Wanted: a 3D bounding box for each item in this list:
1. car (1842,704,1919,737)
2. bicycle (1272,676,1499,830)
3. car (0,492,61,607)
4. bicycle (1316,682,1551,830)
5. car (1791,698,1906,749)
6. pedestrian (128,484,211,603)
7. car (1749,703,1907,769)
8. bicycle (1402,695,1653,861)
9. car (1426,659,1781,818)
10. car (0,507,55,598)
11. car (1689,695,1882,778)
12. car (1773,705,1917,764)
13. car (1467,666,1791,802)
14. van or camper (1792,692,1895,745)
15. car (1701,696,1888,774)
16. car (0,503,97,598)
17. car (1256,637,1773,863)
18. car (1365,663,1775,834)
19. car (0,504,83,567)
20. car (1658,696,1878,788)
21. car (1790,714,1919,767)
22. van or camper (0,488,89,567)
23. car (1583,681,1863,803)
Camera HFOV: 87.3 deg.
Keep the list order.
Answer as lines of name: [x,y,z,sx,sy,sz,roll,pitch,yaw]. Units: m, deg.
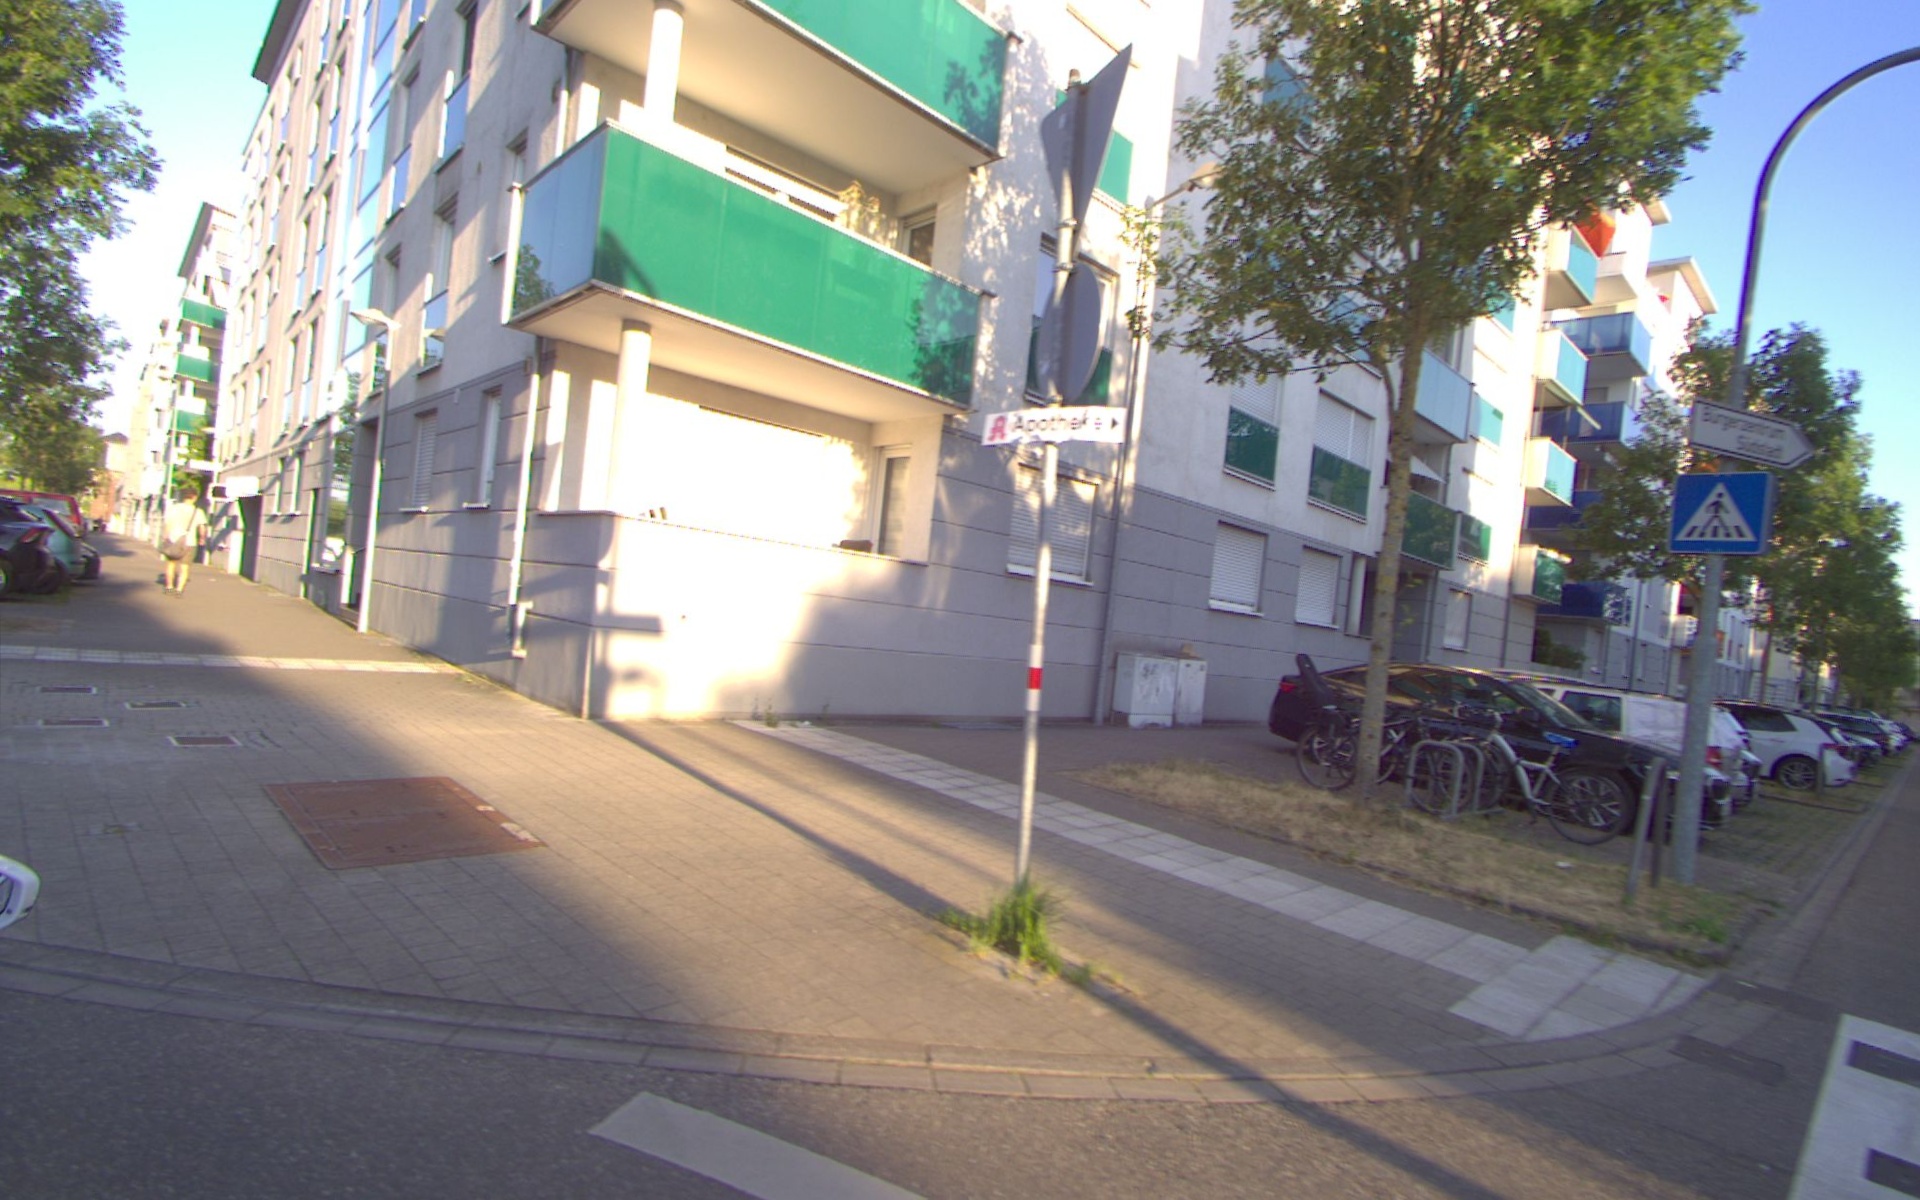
car: [69.523,9.066,75.876,1.682,1.659,4.200,7,1,-43]
bicycle: [3.982,1.402,9.509,1.768,1.055,0.564,9,1,41]
car: [-14.631,-0.837,12.971,4.449,1.506,1.811,4,1,-44]
bicycle: [4.794,1.547,10.305,2.006,1.059,0.471,9,1,41]
car: [46.236,6.416,52.397,1.682,1.801,4.200,7,1,-43]
pedestrian: [-13.823,-0.978,17.594,0.972,1.918,1.038,5,1,-42]
car: [32.466,5.058,37.717,1.682,1.555,4.200,7,1,-43]
bicycle: [5.145,1.571,9.216,1.814,1.085,0.471,9,1,41]
car: [9.817,2.030,15.602,4.240,1.512,1.733,9,1,45]
car: [-18.043,-1.045,16.952,4.032,1.497,1.681,8,-2,-44]
car: [23.703,3.884,29.015,4.045,1.527,1.659,9,1,41]
car: [36.563,5.531,41.622,1.682,1.555,4.200,7,1,-43]
car: [11.483,2.254,17.564,1.728,1.476,4.253,8,1,-36]
van or camper: [51.223,6.858,58.366,1.683,2.238,4.198,7,2,-45]
car: [25.751,4.120,31.179,4.193,1.527,1.744,9,1,41]
car: [-15.950,-0.897,15.463,3.977,1.391,1.540,4,1,-44]
car: [6.221,1.565,11.813,1.925,1.476,4.830,8,1,-43]
car: [8.074,1.886,13.669,1.731,1.526,4.366,8,-2,-41]
car: [-27.620,-1.996,28.190,4.440,1.539,1.681,8,-2,-44]
car: [19.286,3.340,24.150,3.865,1.361,1.716,9,1,41]
car: [41.212,6.439,46.394,1.682,1.555,4.200,7,1,-43]
van or camper: [-29.514,-2.398,30.031,5.102,2.084,1.854,8,-2,-45]
car: [15.341,2.793,20.395,4.236,1.526,1.678,9,1,42]
